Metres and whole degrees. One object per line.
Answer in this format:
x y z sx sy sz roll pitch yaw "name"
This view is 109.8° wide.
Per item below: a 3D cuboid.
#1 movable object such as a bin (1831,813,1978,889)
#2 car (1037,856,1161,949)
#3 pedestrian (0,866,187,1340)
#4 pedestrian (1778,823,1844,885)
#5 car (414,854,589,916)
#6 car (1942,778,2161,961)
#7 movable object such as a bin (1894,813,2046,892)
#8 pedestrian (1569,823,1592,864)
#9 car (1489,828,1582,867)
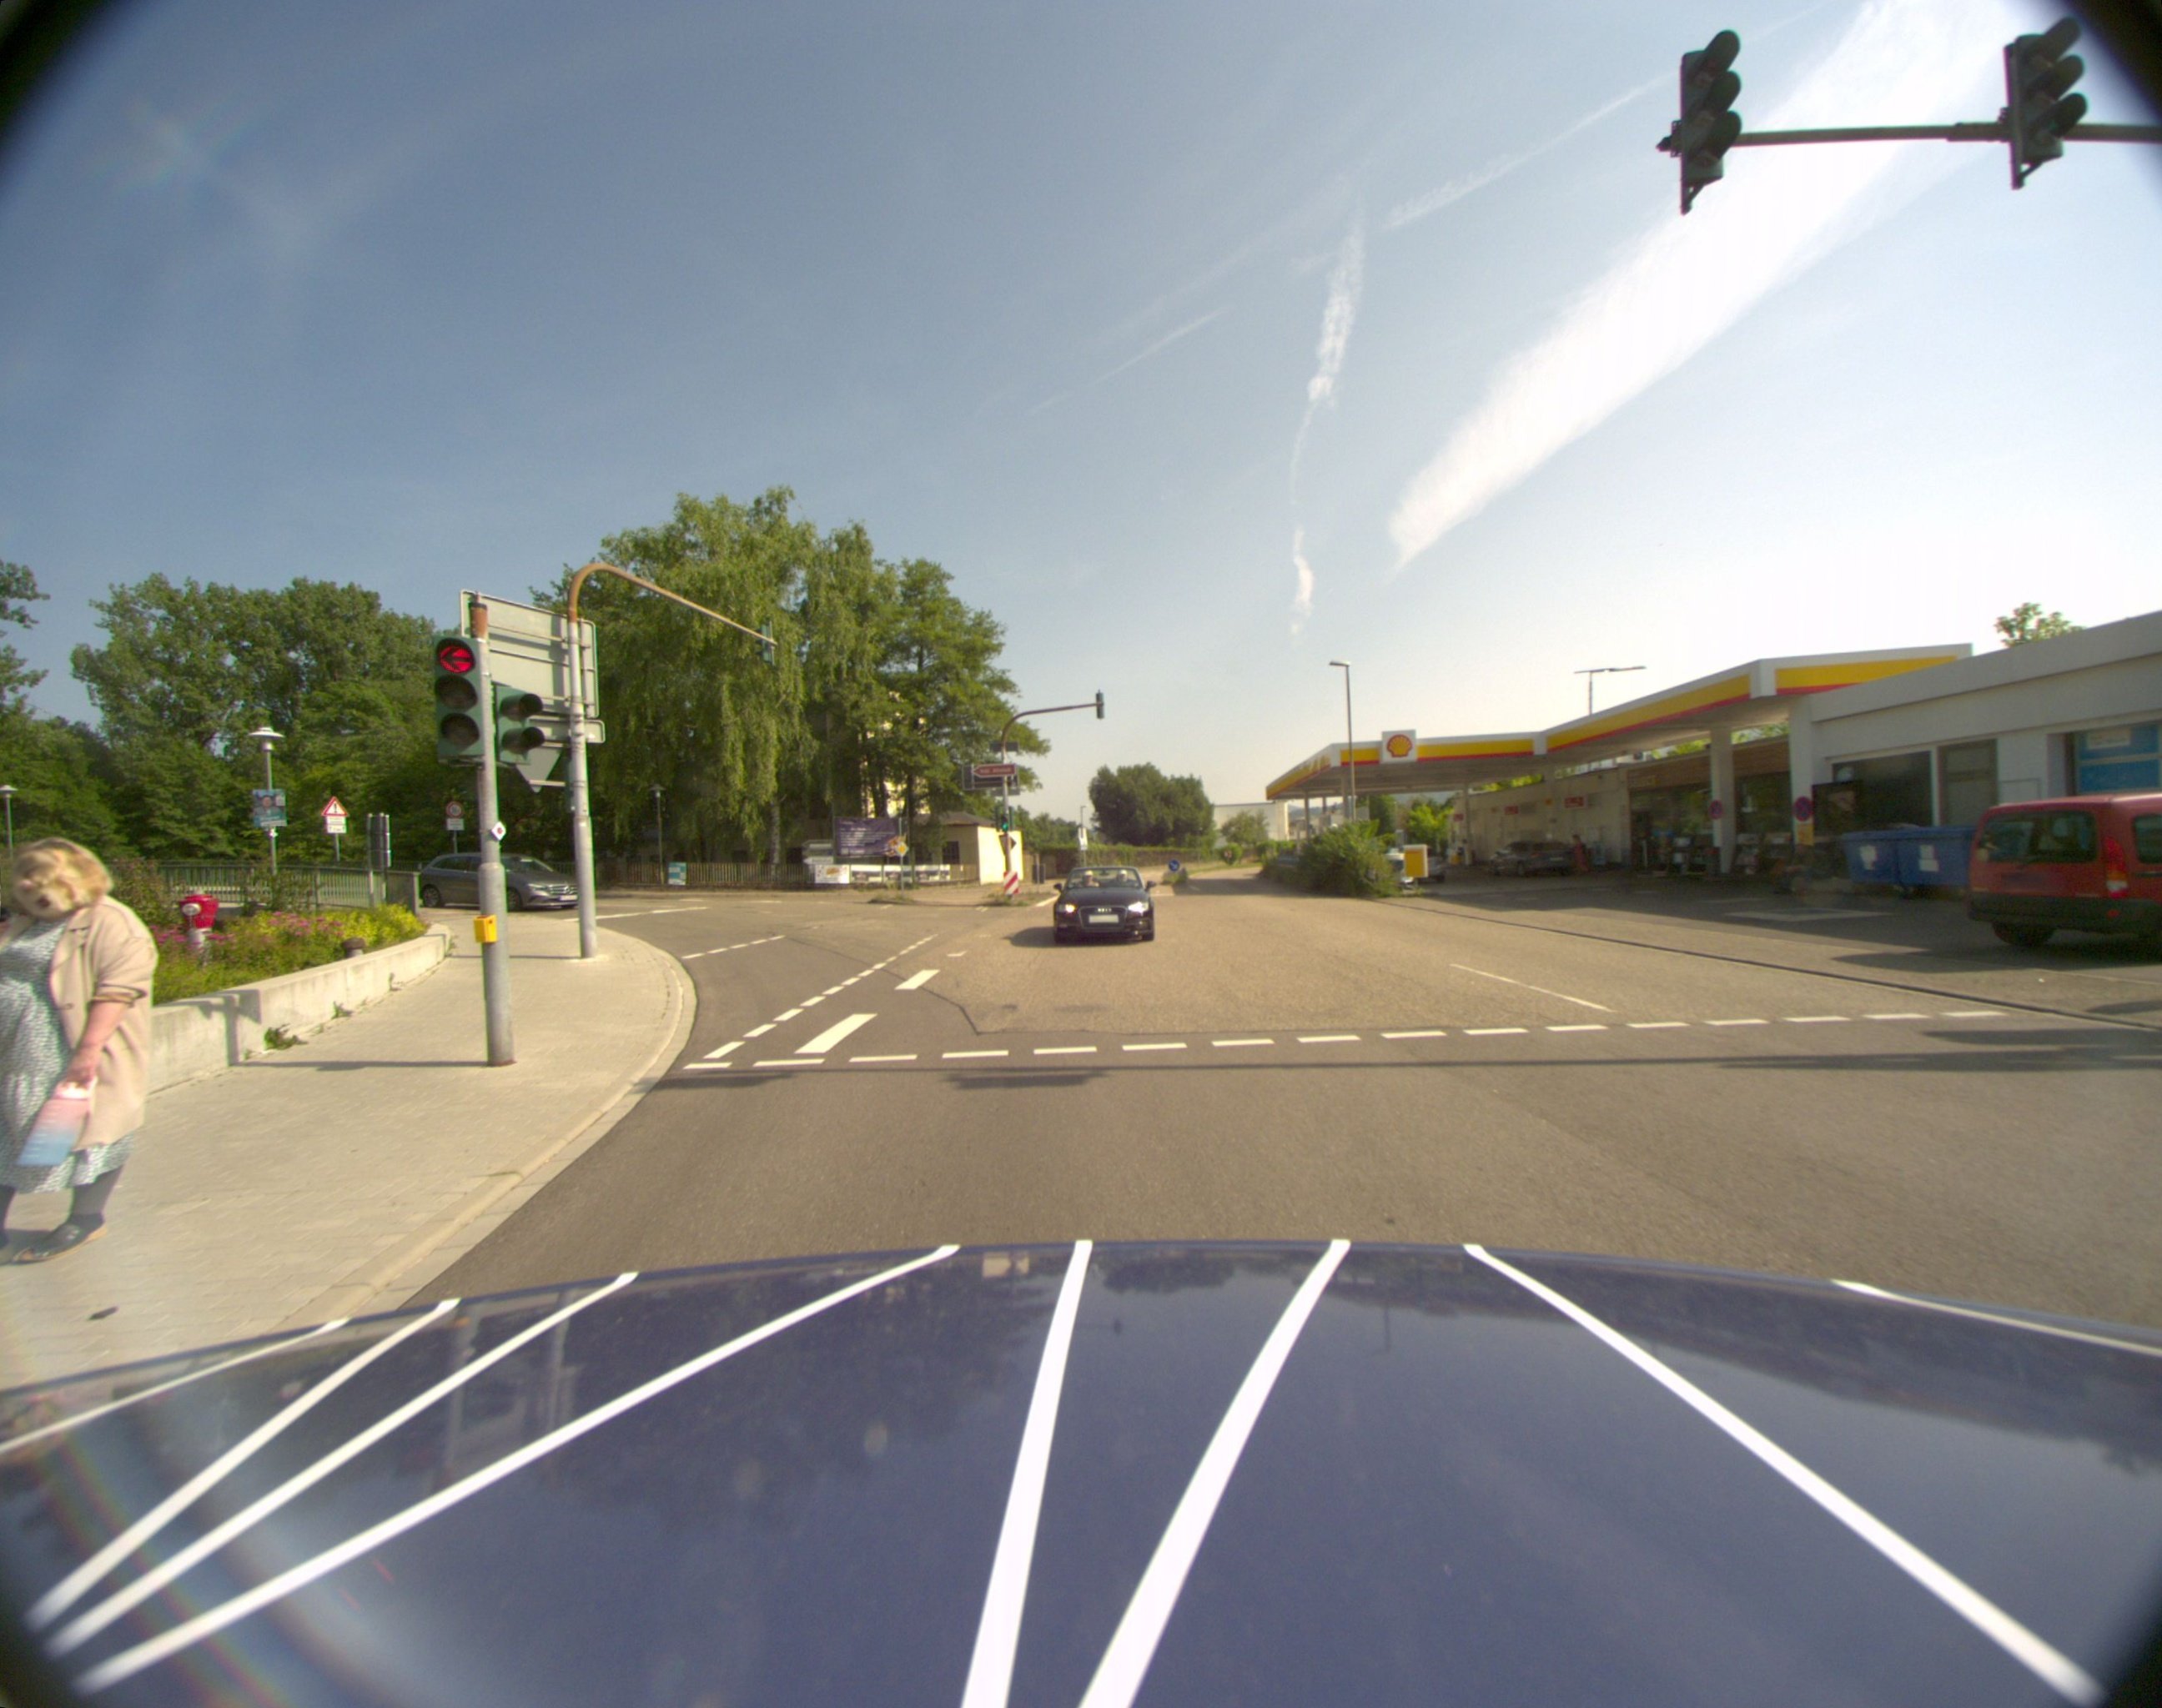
16.095 -0.066 14.917 1.243 1.283 1.435 -6 1 7 "movable object such as a bin"
0.393 0.758 13.834 1.868 1.323 4.232 -2 1 3 "car"
-4.059 0.893 2.876 0.714 1.662 0.591 -3 2 -40 "pedestrian"
15.763 -0.007 16.434 0.616 1.288 0.816 -4 1 5 "pedestrian"
-15.653 0.781 20.572 4.076 1.509 1.669 0 1 17 "car"
12.640 0.024 8.479 3.784 1.785 1.702 -6 0 5 "car"
15.826 -0.031 13.578 1.243 1.235 1.168 -6 1 7 "movable object such as a bin"
19.151 -0.389 29.142 0.559 1.538 0.535 -2 1 7 "pedestrian"
18.178 -0.278 30.593 1.631 1.403 4.229 -2 1 7 "car"
